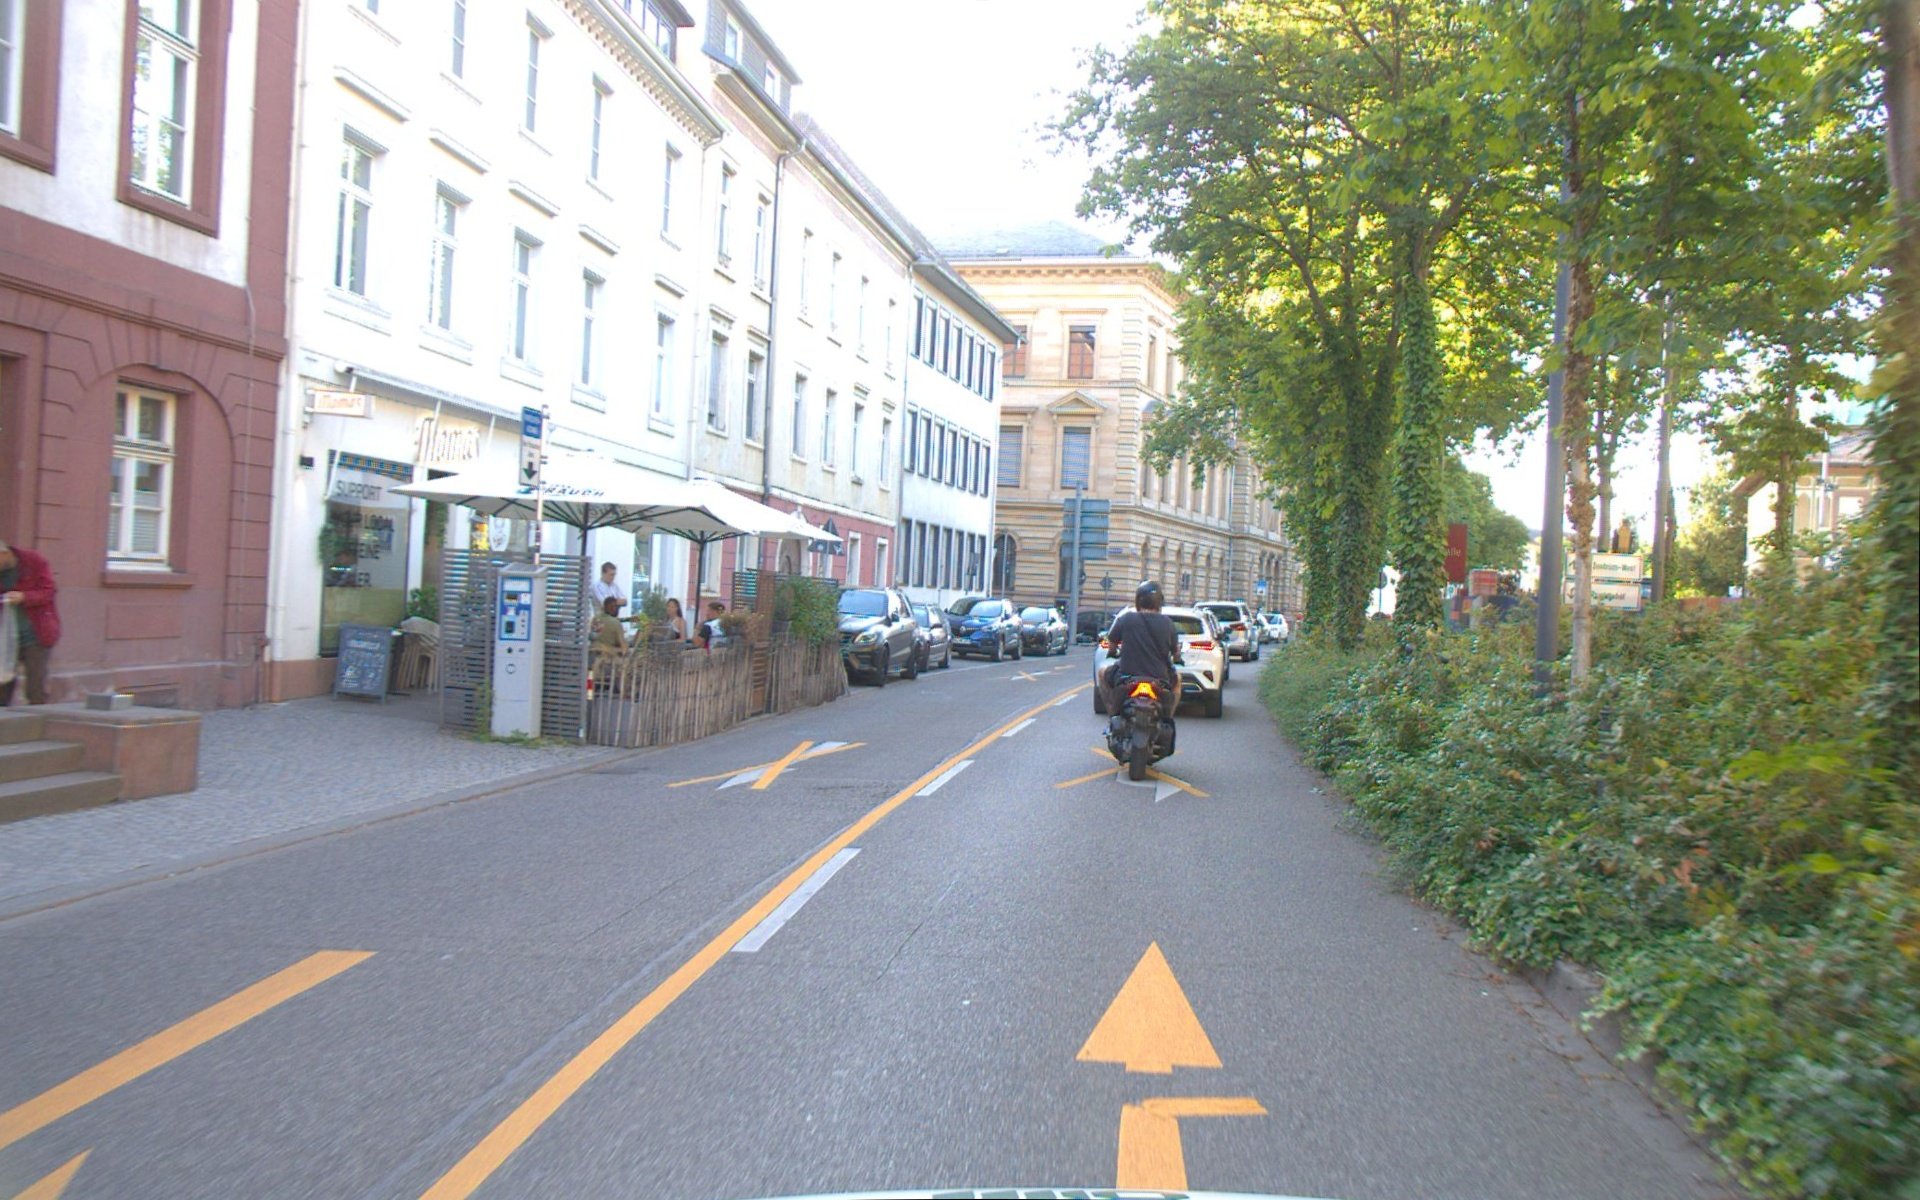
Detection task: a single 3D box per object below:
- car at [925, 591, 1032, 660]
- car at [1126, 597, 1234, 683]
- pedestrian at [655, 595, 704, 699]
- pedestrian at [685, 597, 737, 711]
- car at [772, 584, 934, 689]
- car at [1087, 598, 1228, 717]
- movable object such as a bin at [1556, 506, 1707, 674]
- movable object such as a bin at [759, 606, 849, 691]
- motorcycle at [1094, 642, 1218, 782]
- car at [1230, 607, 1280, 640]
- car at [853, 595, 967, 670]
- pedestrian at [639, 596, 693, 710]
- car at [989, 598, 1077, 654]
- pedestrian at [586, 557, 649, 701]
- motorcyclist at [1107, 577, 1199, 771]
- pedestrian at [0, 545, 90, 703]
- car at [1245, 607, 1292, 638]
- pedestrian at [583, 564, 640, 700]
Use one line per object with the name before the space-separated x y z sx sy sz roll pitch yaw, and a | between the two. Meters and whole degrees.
car | 0.554 0.662 44.222 1.893 1.696 4.350 2 0 13
car | 4.435 0.750 32.881 1.801 1.489 4.061 4 0 11
pedestrian | -3.913 0.643 23.075 0.512 1.415 0.488 2 0 5
pedestrian | -3.262 0.701 21.698 0.460 1.458 0.502 3 0 12
car | -1.865 0.622 30.492 1.881 1.709 4.789 2 0 10
car | 2.937 0.765 24.037 1.811 1.506 4.061 2 0 9
movable object such as a bin | 20.178 -0.287 50.182 3.237 4.618 7.910 2 0 16
movable object such as a bin | -2.537 0.782 27.001 1.190 1.318 0.931 2 0 13
motorcycle | 1.727 0.972 14.849 0.781 1.084 1.724 3 0 -3
car | 15.242 1.222 85.320 1.952 1.594 4.291 2 0 17
car | -1.031 0.682 36.499 1.618 1.506 4.432 2 0 10
pedestrian | -3.731 0.662 21.028 0.512 1.415 0.488 2 0 5
car | 2.327 0.782 51.471 1.785 1.529 4.764 4 0 13
pedestrian | -4.387 0.365 21.199 0.583 1.806 0.439 2 0 16
motorcyclist | 1.736 0.655 14.970 0.644 1.679 0.650 3 0 -2
pedestrian | -6.601 0.160 11.701 0.525 1.071 0.552 3 0 3
car | 16.477 1.214 88.308 1.952 1.555 4.186 2 0 17
pedestrian | -4.724 0.425 22.448 0.429 1.806 0.597 2 0 20
